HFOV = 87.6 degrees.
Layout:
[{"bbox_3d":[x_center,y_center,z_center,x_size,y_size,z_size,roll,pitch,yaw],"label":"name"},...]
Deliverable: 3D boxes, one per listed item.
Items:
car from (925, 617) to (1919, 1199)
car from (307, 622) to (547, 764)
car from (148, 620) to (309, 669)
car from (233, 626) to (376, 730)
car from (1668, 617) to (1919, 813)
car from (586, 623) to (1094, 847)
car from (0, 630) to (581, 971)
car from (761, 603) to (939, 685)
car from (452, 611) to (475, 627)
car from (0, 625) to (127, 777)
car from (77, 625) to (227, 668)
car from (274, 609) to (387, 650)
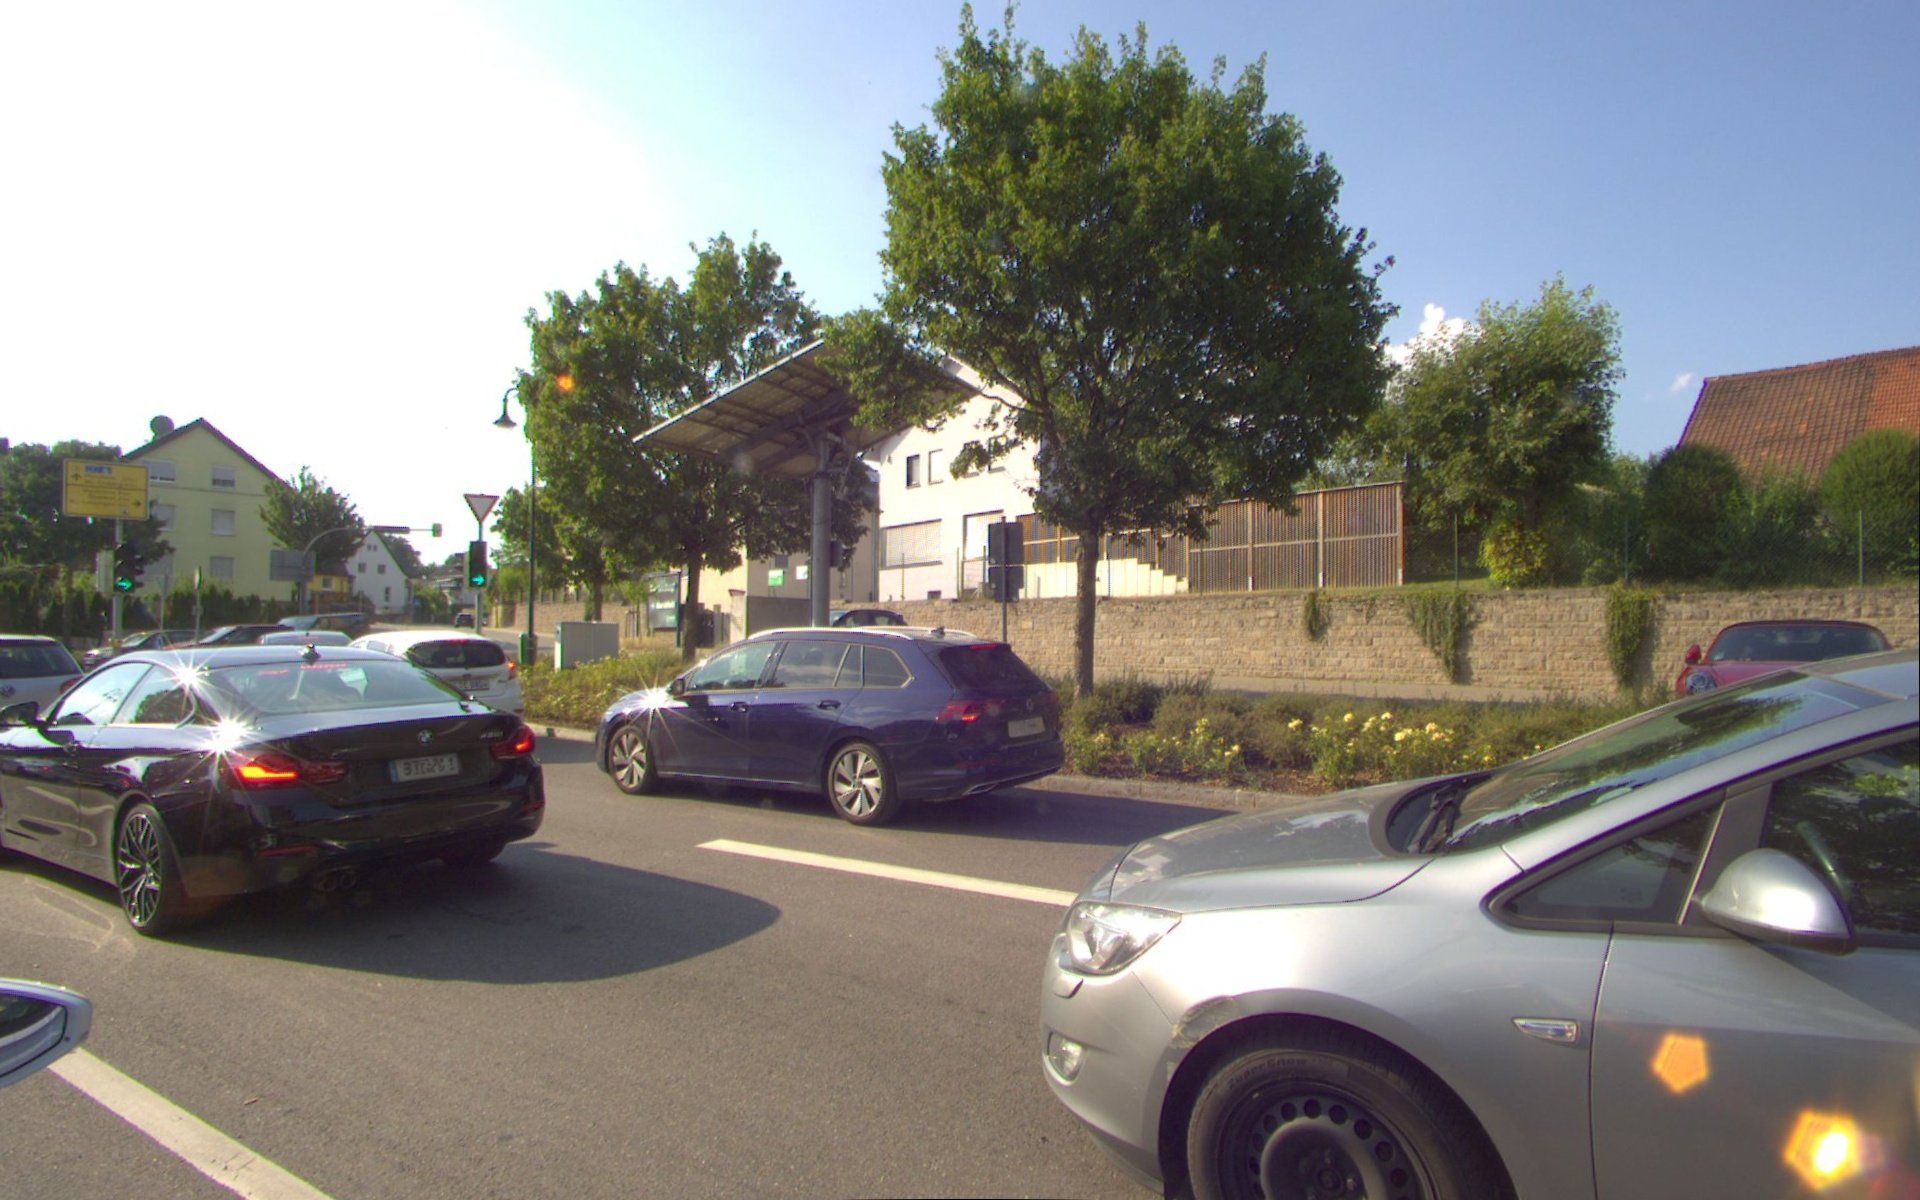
[{"bbox_3d":[2.180,0.785,2.167,4.256,1.472,1.758,-1,0,31],"label":"car"},{"bbox_3d":[-6.911,1.082,12.893,3.278,1.562,1.611,-1,0,40],"label":"car"},{"bbox_3d":[-26.480,1.598,36.415,1.818,1.662,4.418,0,-2,25],"label":"car"},{"bbox_3d":[-11.746,1.273,17.819,1.643,1.562,4.362,-1,0,-40],"label":"car"},{"bbox_3d":[8.232,0.954,9.750,1.758,1.510,4.120,-1,-2,41],"label":"car"},{"bbox_3d":[-1.157,0.950,8.638,4.259,1.472,1.757,-1,0,34],"label":"car"},{"bbox_3d":[-4.428,0.916,6.191,4.220,1.416,1.758,-1,0,33],"label":"car"},{"bbox_3d":[-2.371,0.962,22.303,1.758,1.653,3.800,-1,-2,40],"label":"car"},{"bbox_3d":[-54.949,2.112,110.880,1.939,1.701,4.202,0,-1,-23],"label":"car"},{"bbox_3d":[-10.799,1.014,10.784,3.848,1.444,1.758,-1,0,33],"label":"car"},{"bbox_3d":[-30.066,1.719,37.369,1.821,1.508,3.983,-1,-2,30],"label":"car"},{"bbox_3d":[-28.237,1.330,45.118,1.812,1.761,4.786,0,-2,4],"label":"car"}]
